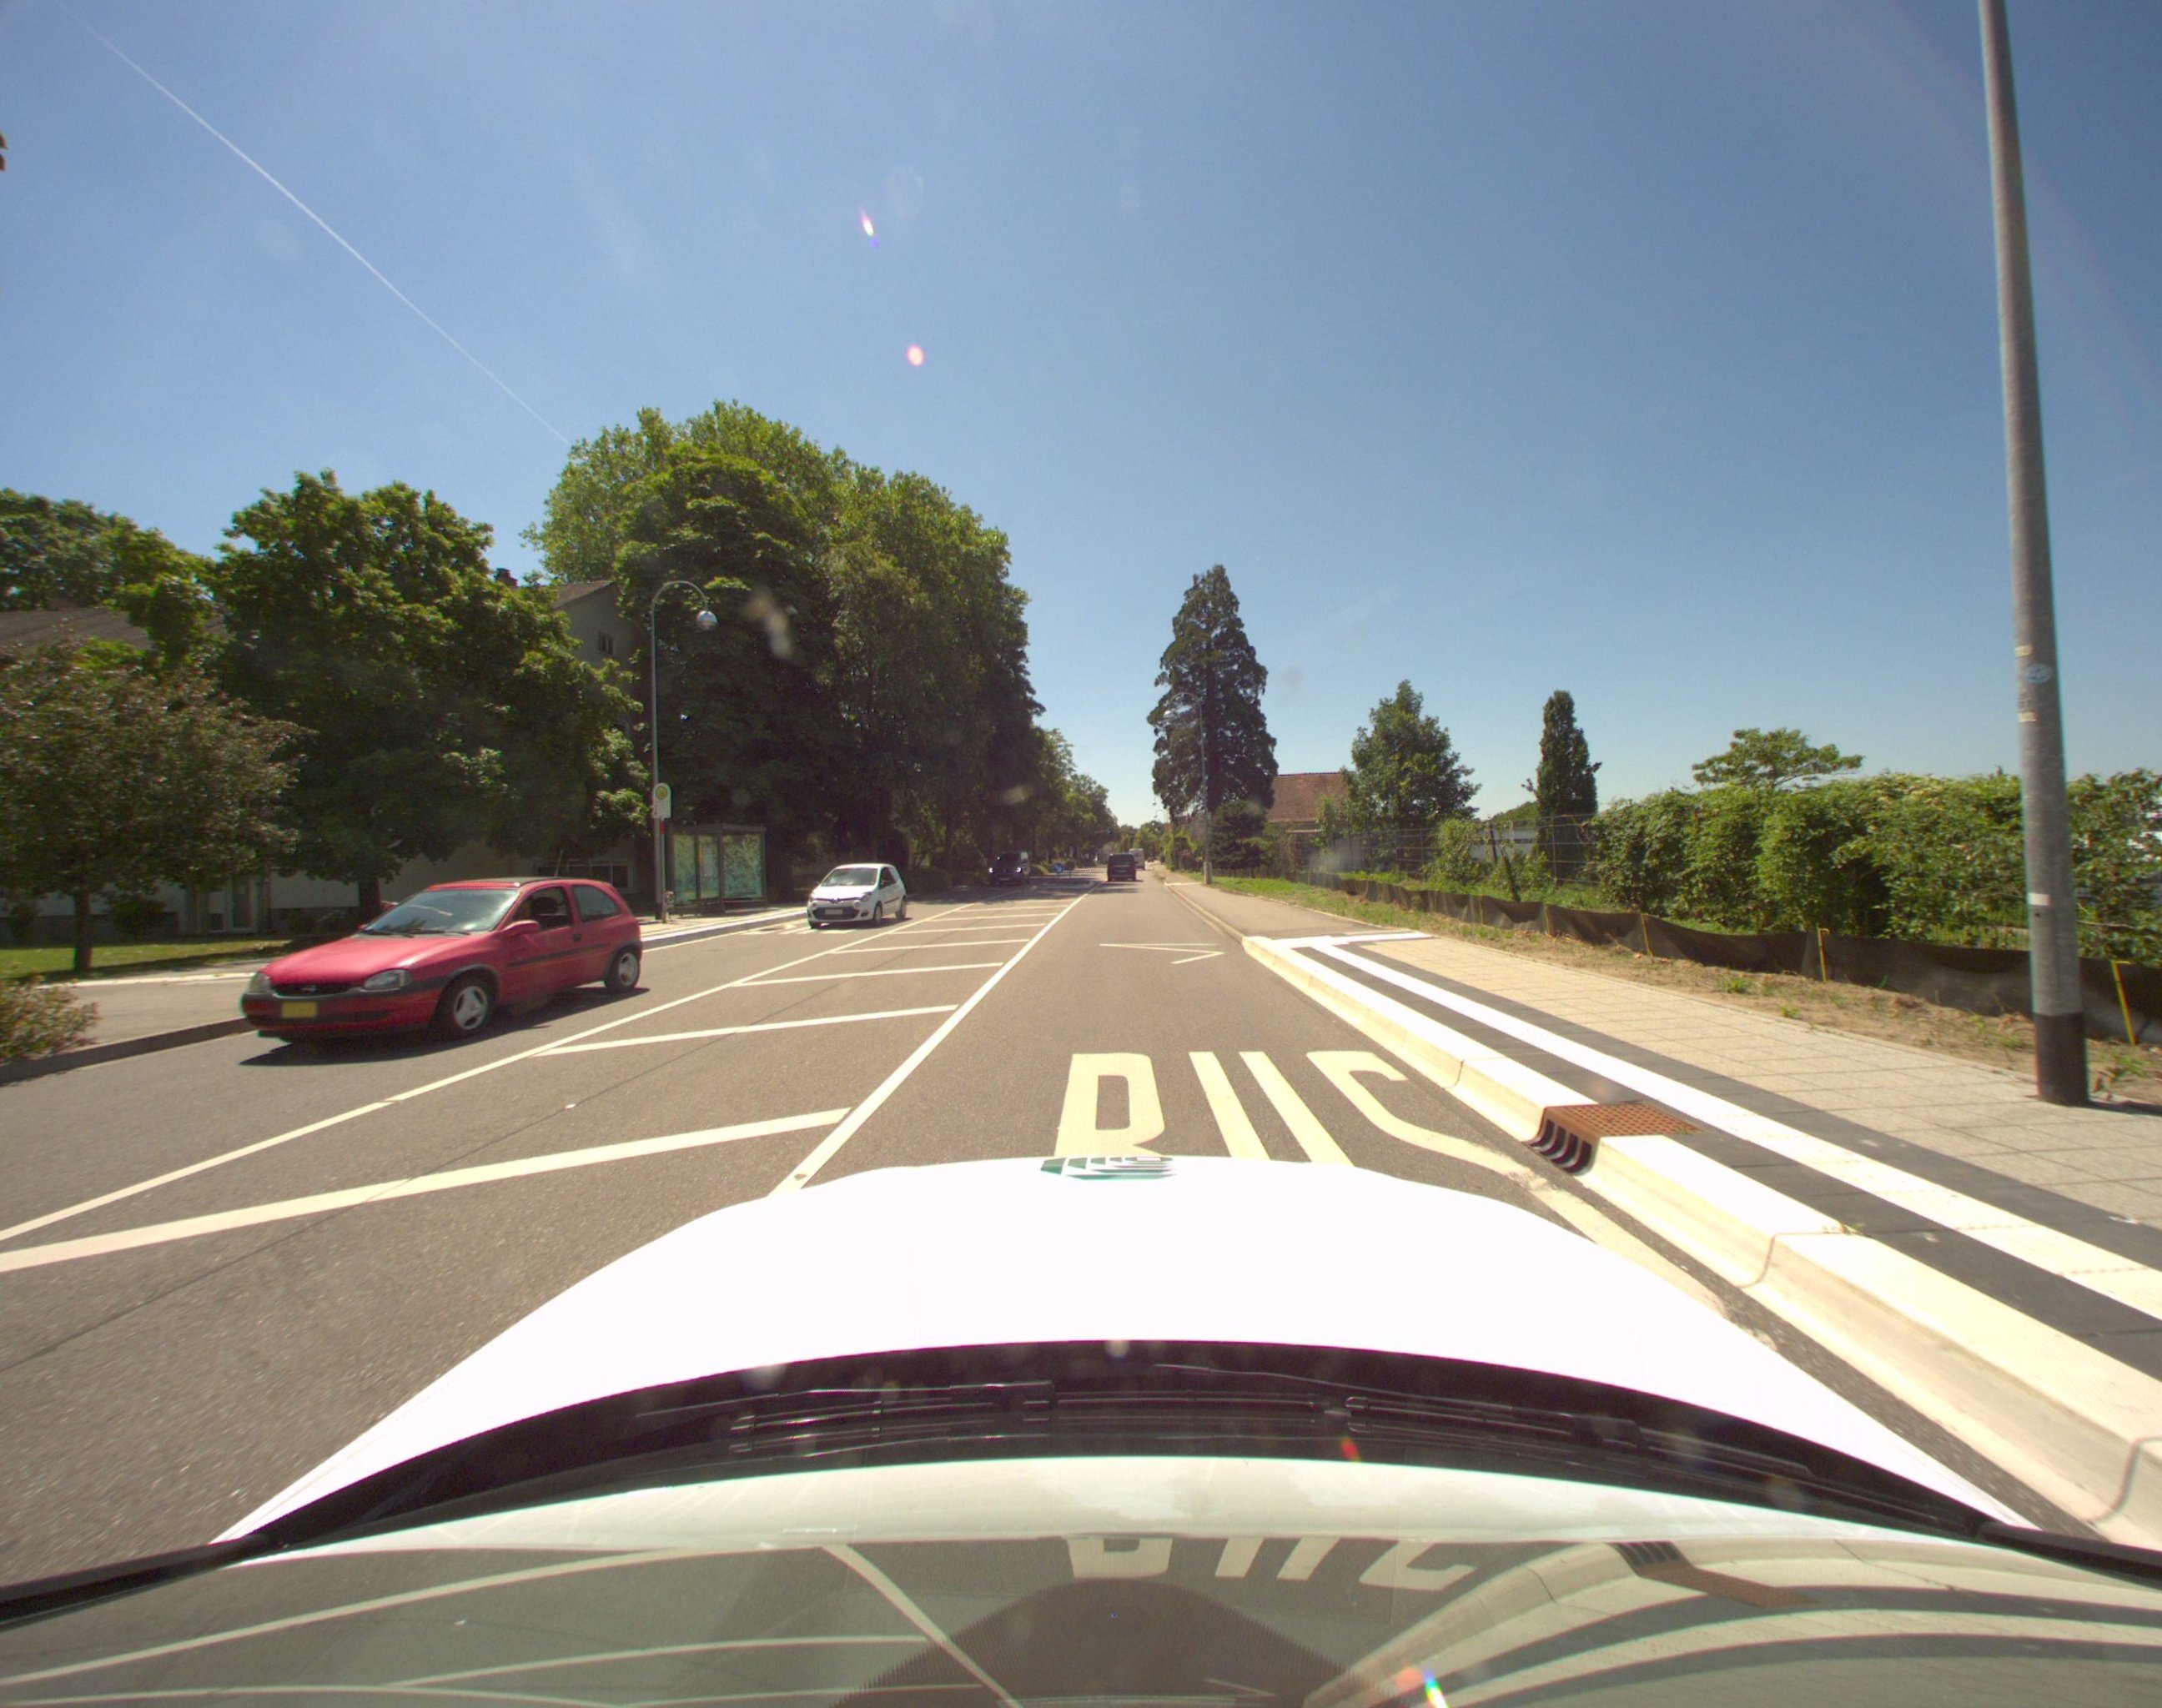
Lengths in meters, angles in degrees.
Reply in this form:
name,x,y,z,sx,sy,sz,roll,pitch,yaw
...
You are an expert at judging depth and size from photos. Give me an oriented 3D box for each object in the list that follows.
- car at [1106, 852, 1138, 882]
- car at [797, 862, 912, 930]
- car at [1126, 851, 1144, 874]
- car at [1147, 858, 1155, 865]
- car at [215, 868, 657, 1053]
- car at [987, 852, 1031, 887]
name,x,y,z,sx,sy,sz,roll,pitch,yaw
car,2.671,0.807,53.545,1.986,1.893,4.002,-1,0,2
car,-5.538,0.975,20.353,1.684,1.460,3.642,-1,0,2
car,6.582,1.020,98.786,2.110,2.677,5.670,-1,0,5
car,19.383,2.059,225.379,1.851,1.643,4.000,-1,0,0
car,-6.154,0.890,8.406,1.544,1.450,3.692,-1,-1,2
car,-4.205,0.872,48.094,1.986,1.910,4.993,-1,0,2
